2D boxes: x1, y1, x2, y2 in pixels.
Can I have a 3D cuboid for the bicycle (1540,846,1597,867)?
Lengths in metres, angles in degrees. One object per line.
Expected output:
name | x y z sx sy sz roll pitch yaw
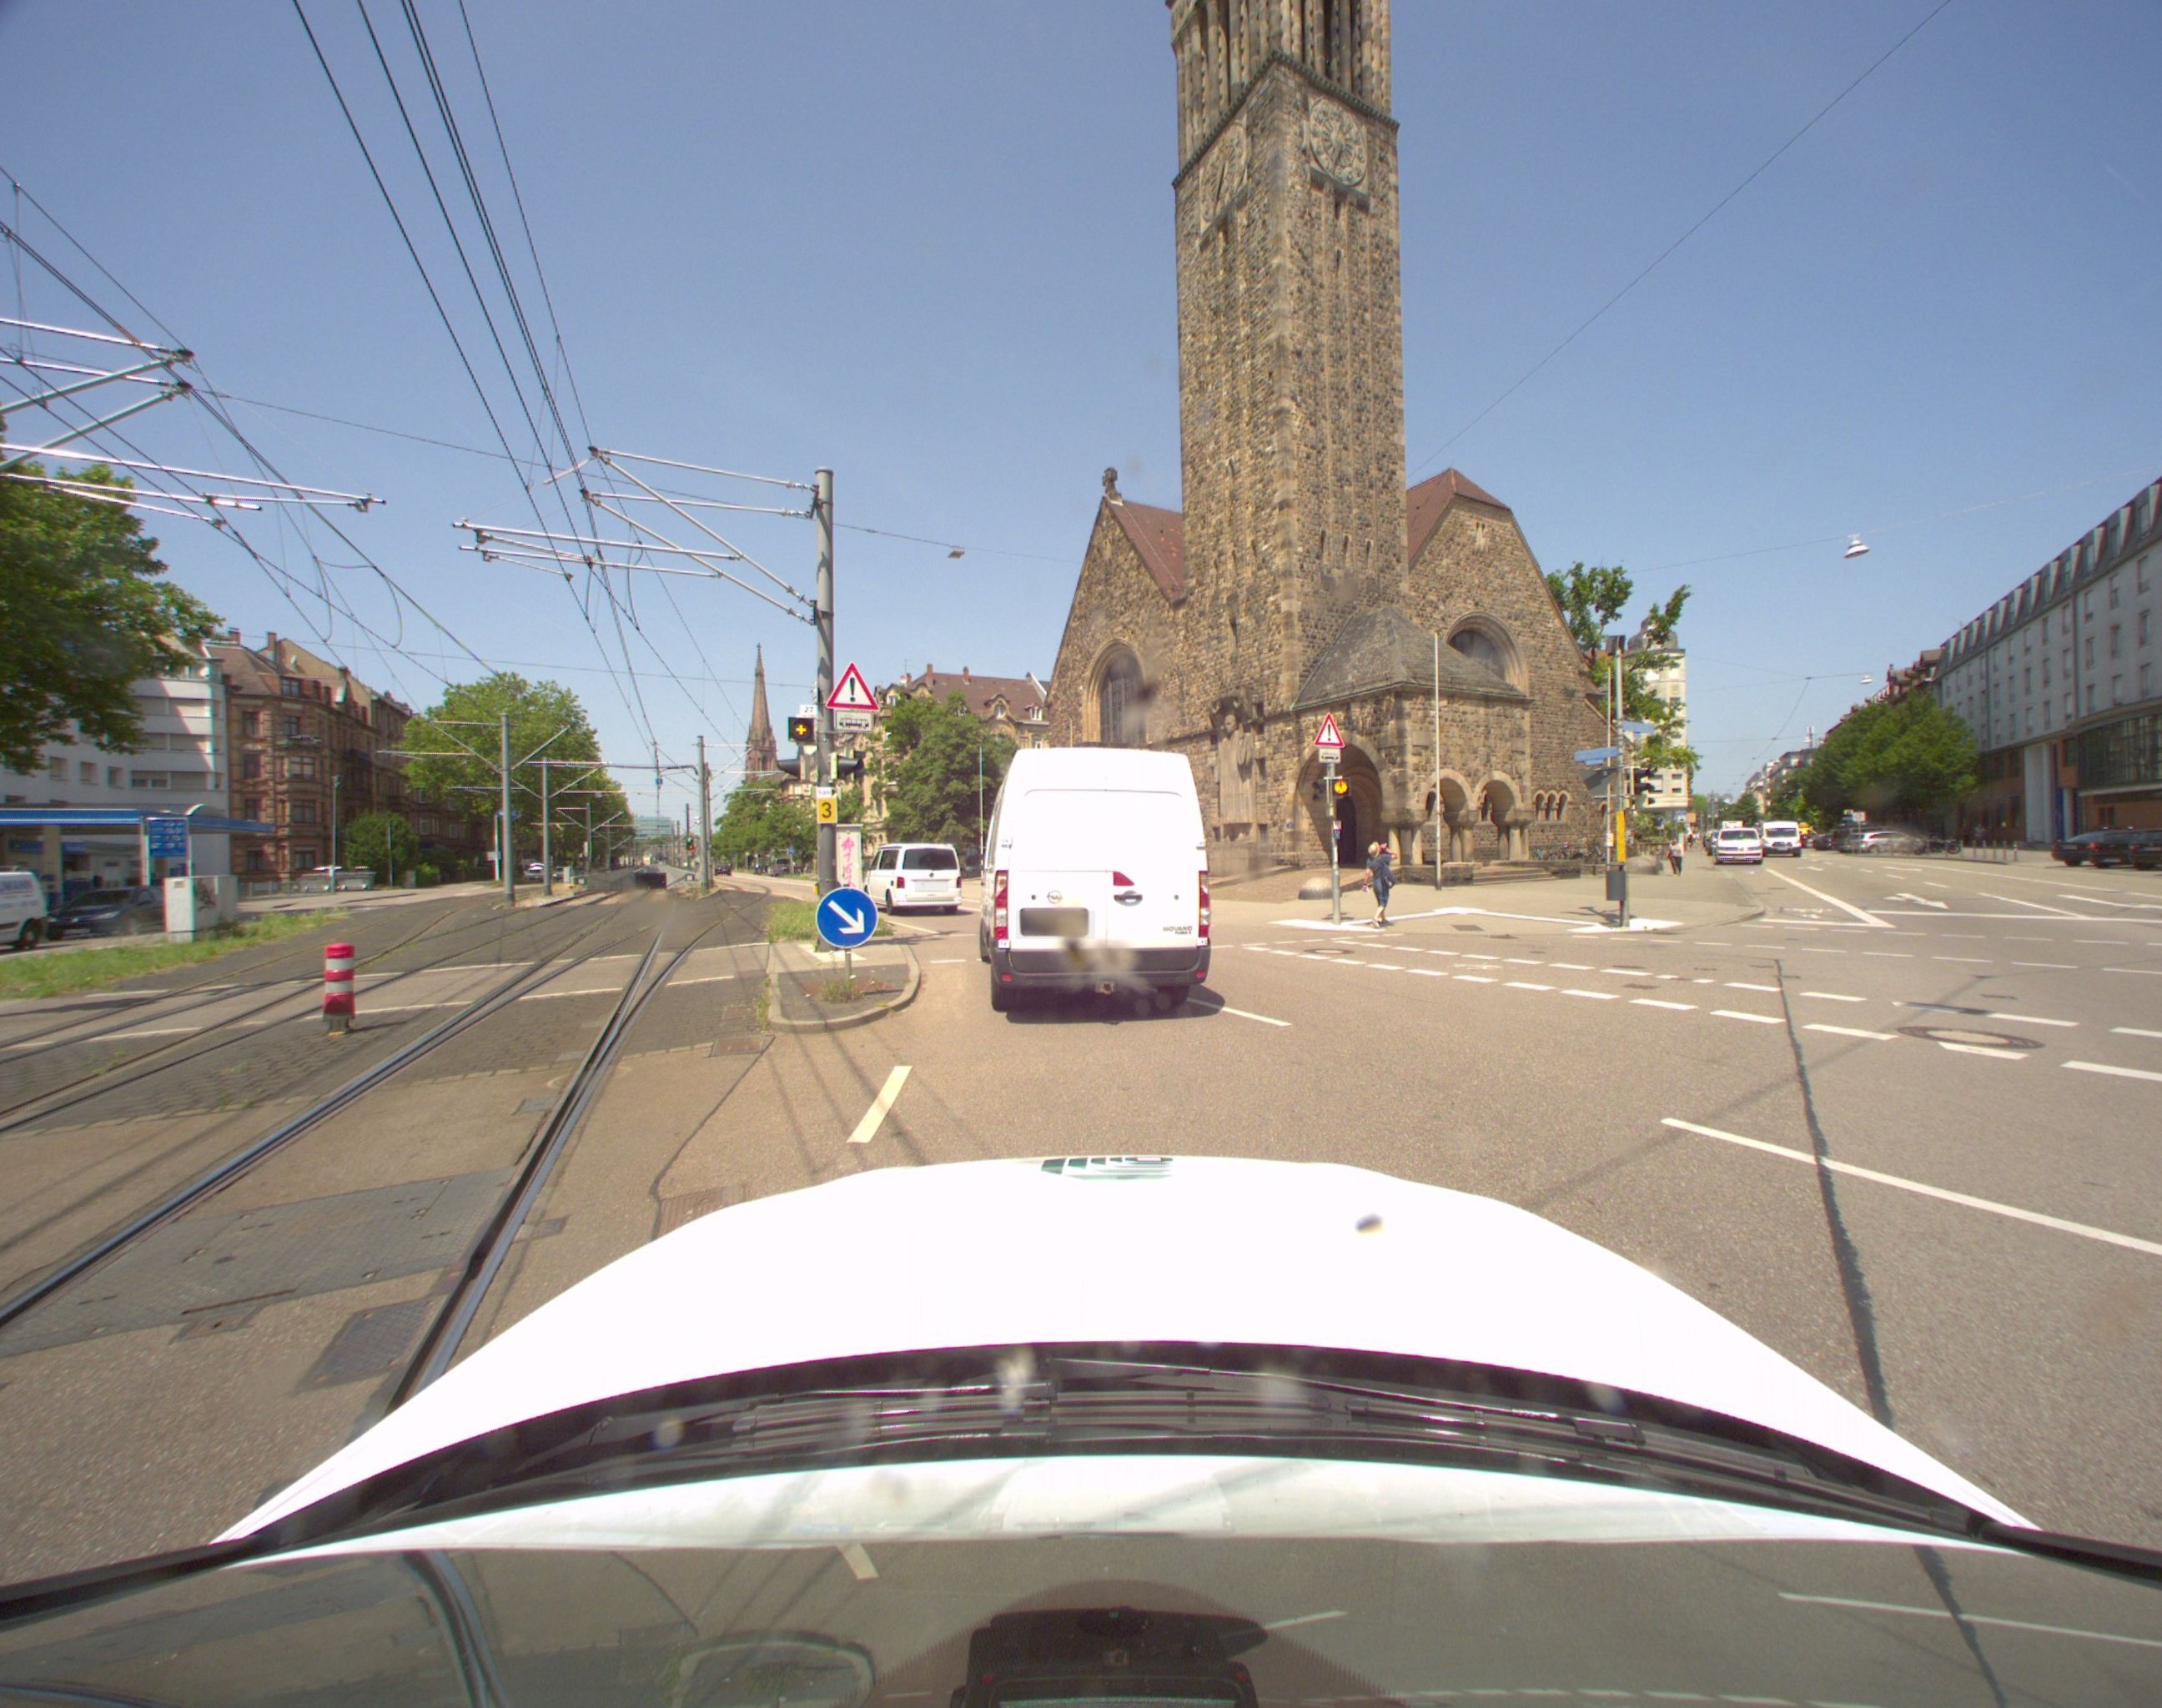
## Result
bicycle | 24.843 0.149 41.547 0.707 1.011 2.477 -2 0 -26

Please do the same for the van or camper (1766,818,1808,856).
van or camper | 48.831 -1.218 56.416 2.047 2.461 5.940 -1 1 40

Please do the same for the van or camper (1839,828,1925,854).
van or camper | 61.112 -1.003 62.181 4.285 1.838 2.006 -2 0 11

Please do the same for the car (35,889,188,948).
car | -29.097 1.886 24.601 1.606 1.420 3.747 -4 1 -28

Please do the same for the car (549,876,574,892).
car | -60.443 3.443 94.815 1.857 1.625 4.561 -3 1 -27

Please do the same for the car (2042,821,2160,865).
car | 42.266 -0.438 33.779 3.215 1.575 1.612 -3 -2 -9

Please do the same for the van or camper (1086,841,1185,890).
van or camper | 2.413 0.450 36.022 4.012 1.825 1.786 -4 3 -29

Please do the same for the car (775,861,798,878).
car | -30.664 1.623 84.648 1.760 1.706 3.724 -1 0 -28

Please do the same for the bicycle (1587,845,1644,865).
bicycle | 28.000 0.048 42.698 0.707 1.011 2.477 -2 0 -26

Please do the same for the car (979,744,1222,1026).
car | -0.117 0.264 9.757 2.115 2.459 5.041 -1 0 -8

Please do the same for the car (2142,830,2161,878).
car | 37.070 -0.104 26.344 3.203 1.575 1.617 -3 -2 2

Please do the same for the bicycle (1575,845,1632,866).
bicycle | 26.986 0.086 42.107 0.707 1.011 2.477 -2 0 -26

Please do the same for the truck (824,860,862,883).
truck | -17.561 1.304 60.043 1.800 1.526 4.425 -3 0 -28

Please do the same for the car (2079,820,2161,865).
car | 40.668 -0.459 31.370 3.219 1.575 1.489 -2 -2 -13

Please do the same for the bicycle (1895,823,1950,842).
bicycle | 56.405 -1.428 54.588 2.571 1.174 0.685 -1 0 15

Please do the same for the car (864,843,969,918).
car | -4.856 0.711 23.559 1.927 1.944 4.226 -1 0 -27

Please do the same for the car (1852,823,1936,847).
car | 58.235 -1.347 58.404 3.958 1.549 1.756 -1 0 14

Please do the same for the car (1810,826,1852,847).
car | 66.802 -1.595 72.595 1.935 1.750 4.025 -2 0 31

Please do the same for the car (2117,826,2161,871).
car | 39.481 -0.267 29.051 3.213 1.575 1.613 -3 -2 -7

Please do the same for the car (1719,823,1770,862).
car | 35.952 -0.642 44.136 2.019 2.004 5.000 -2 0 40

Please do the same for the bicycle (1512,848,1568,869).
bicycle | 23.053 0.224 40.988 0.707 1.011 2.477 -2 0 -26

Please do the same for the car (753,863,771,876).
car | -41.470 1.960 105.687 1.760 1.578 3.724 -1 0 -28

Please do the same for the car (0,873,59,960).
car | -25.689 1.473 18.215 1.788 1.991 4.760 -2 0 -29

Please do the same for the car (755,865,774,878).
car | -39.035 2.157 100.542 1.760 1.578 3.724 -1 0 -28

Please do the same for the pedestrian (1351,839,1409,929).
pedestrian | 6.267 0.611 17.097 0.745 1.822 0.828 -1 -1 -21

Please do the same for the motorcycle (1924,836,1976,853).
motorcycle | 52.985 -0.589 49.687 0.746 0.958 2.055 -5 1 -35

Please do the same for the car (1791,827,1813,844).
car | 93.943 -2.373 106.098 1.888 2.014 4.025 -3 -1 39

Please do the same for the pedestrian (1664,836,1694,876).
pedestrian | 23.712 0.059 32.311 0.795 1.559 0.713 -1 -1 -34

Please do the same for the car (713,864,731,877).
car | -44.713 2.095 101.412 1.760 1.539 3.724 -1 0 -28
